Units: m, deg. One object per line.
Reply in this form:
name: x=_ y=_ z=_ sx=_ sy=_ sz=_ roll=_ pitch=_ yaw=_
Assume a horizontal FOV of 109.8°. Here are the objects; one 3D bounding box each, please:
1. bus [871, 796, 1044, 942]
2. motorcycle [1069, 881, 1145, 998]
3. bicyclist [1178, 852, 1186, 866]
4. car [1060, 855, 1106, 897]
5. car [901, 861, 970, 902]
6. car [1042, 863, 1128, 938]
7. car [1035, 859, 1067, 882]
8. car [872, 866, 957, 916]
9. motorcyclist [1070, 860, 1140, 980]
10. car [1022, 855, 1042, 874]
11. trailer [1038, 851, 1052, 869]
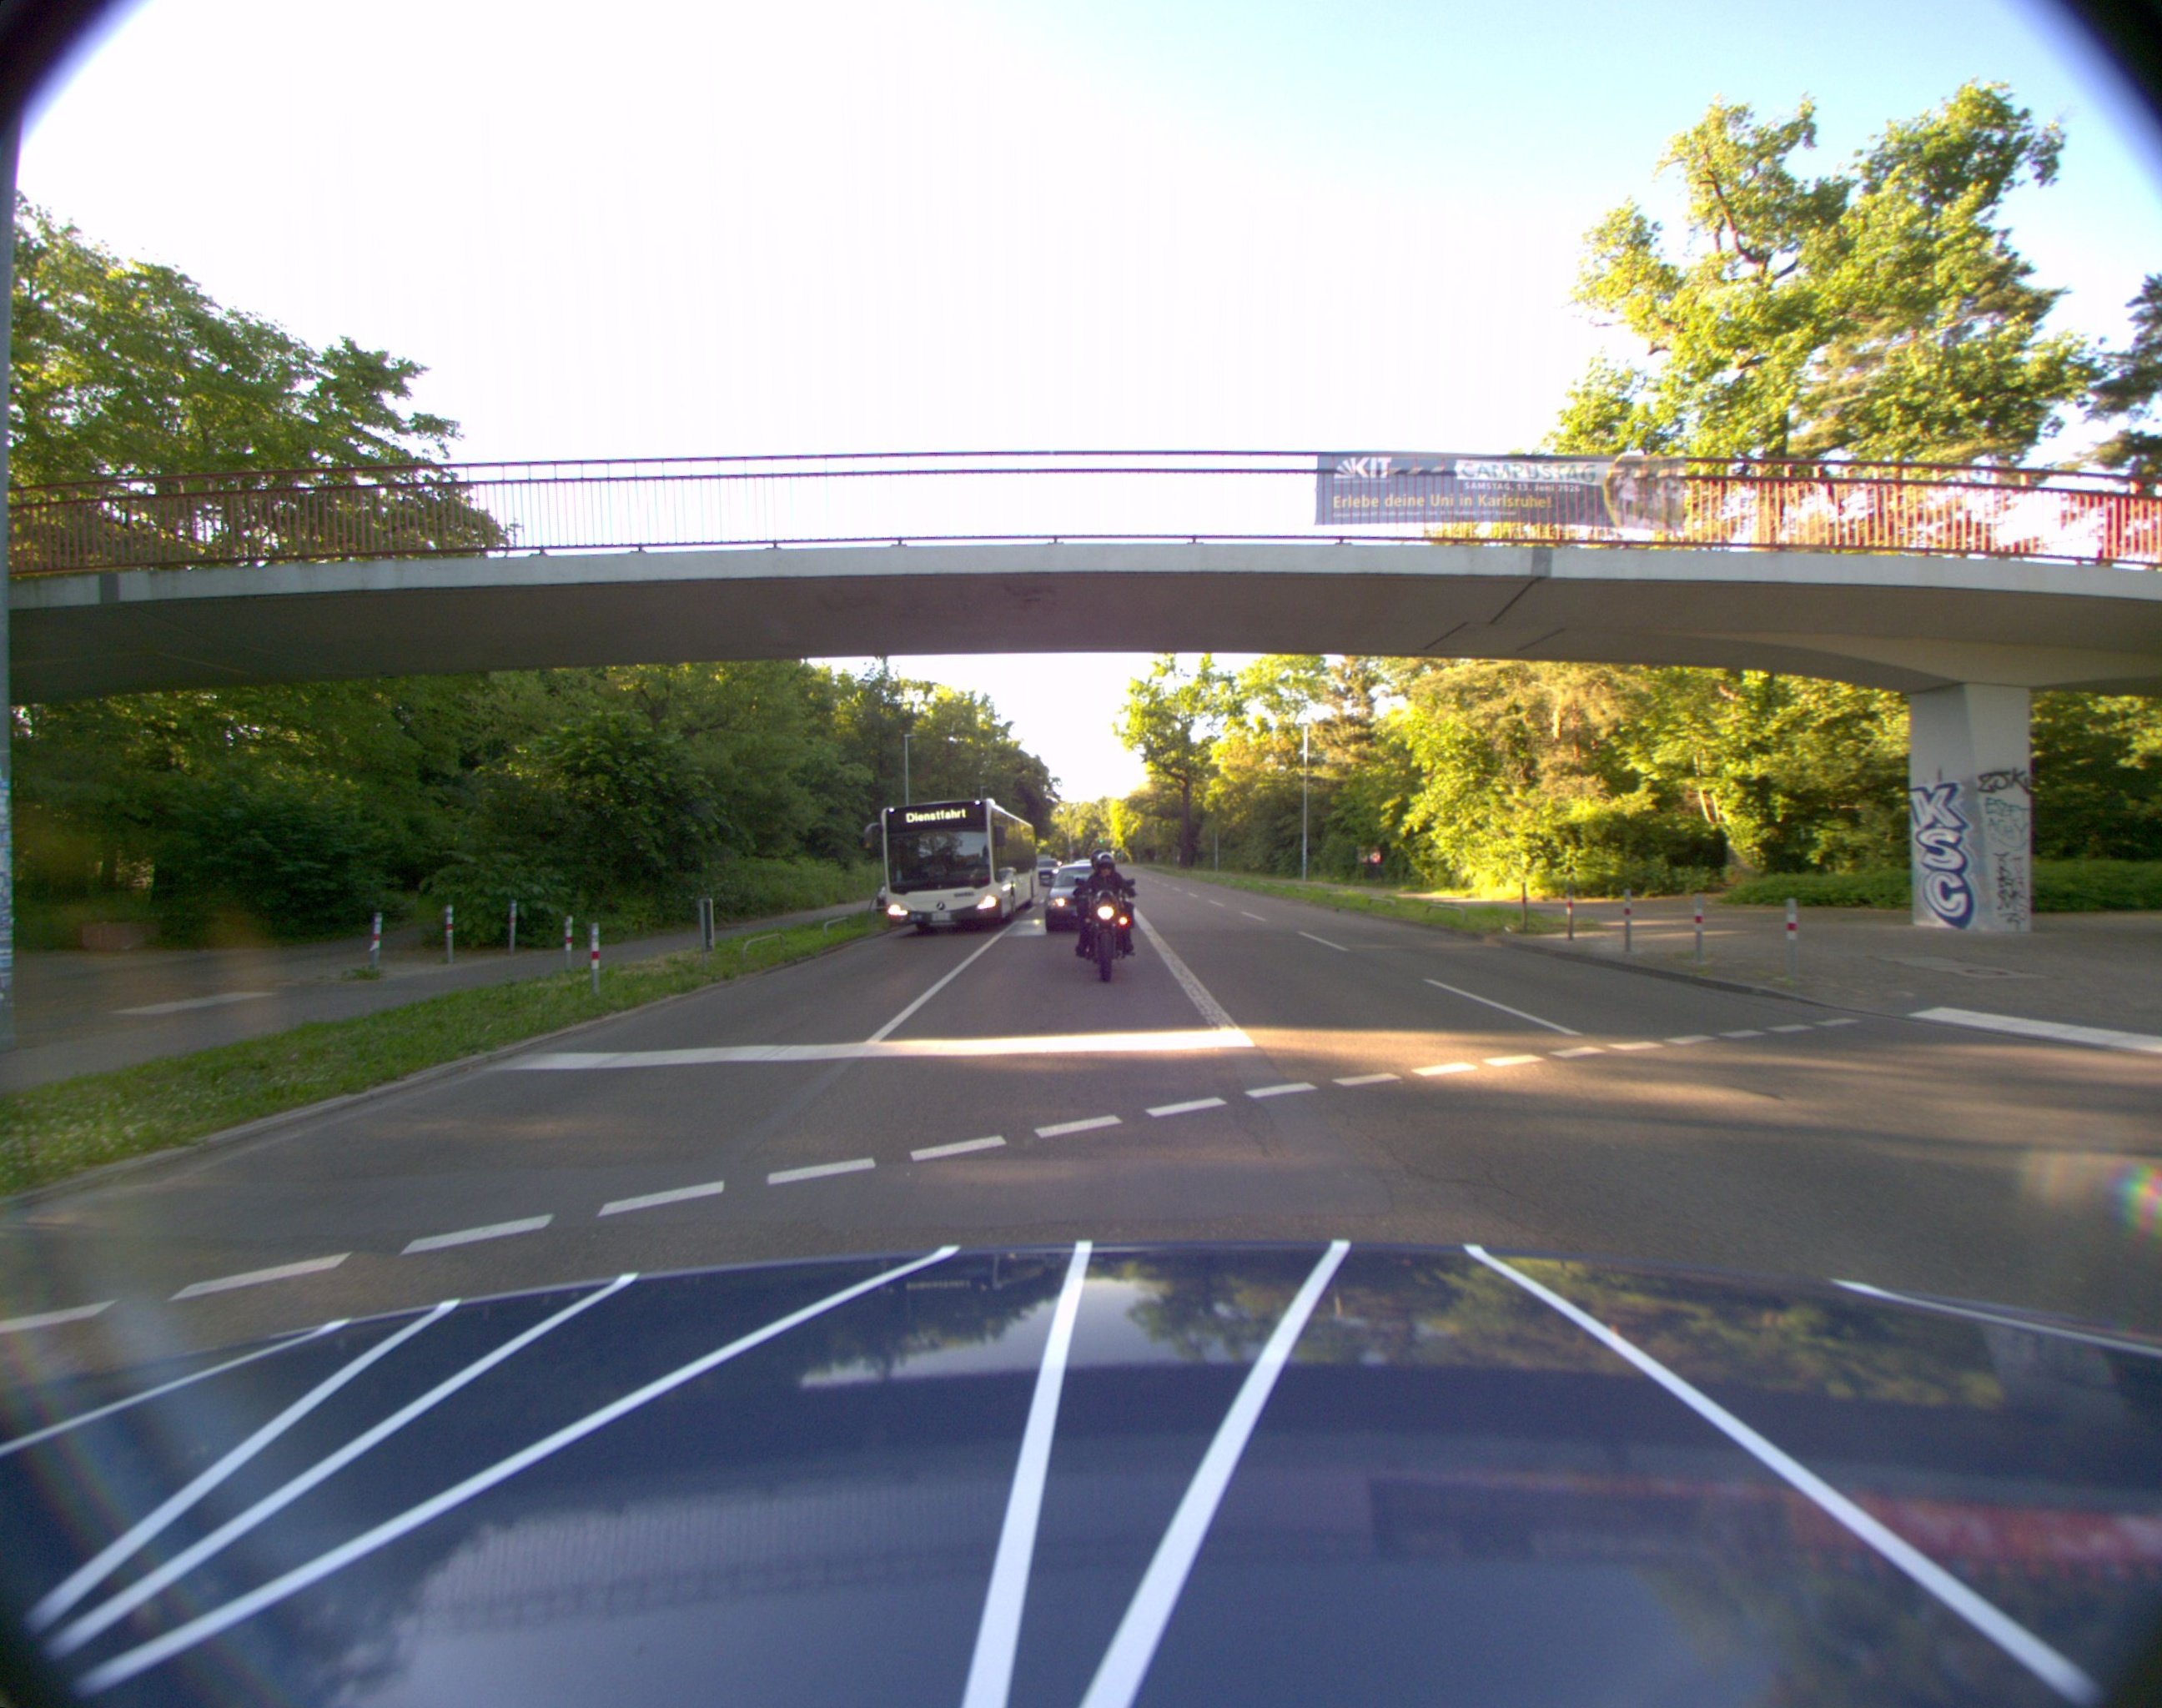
bus: x=-2.966 y=0.315 z=22.799 sx=2.812 sy=3.030 sz=12.886 roll=-3 pitch=0 yaw=1
motorcycle: x=0.317 y=1.032 z=10.015 sx=0.830 sy=1.211 sz=2.603 roll=-2 pitch=0 yaw=1
bicyclist: x=11.766 y=0.580 z=88.659 sx=0.714 sy=1.550 sz=1.142 roll=-3 pitch=1 yaw=1
car: x=0.146 y=0.881 z=32.147 sx=1.678 sy=1.552 sz=3.995 roll=-2 pitch=0 yaw=3
car: x=-5.791 y=1.064 z=30.734 sx=1.778 sy=1.445 sz=4.015 roll=-1 pitch=0 yaw=4
car: x=0.192 y=0.965 z=17.321 sx=1.678 sy=1.351 sz=3.995 roll=-3 pitch=0 yaw=3
car: x=-1.948 y=1.046 z=50.222 sx=1.873 sy=1.398 sz=4.369 roll=-1 pitch=0 yaw=1
car: x=-5.516 y=1.191 z=25.715 sx=1.778 sy=1.445 sz=4.388 roll=-1 pitch=0 yaw=2
motorcyclist: x=0.312 y=0.836 z=10.120 sx=0.830 sy=1.484 sz=1.024 roll=-2 pitch=1 yaw=1
car: x=-5.050 y=1.045 z=78.273 sx=1.763 sy=1.793 sz=4.736 roll=-1 pitch=0 yaw=-1
trailer: x=-5.049 y=0.823 z=106.954 sx=1.909 sy=2.409 sz=5.125 roll=-1 pitch=0 yaw=-1
